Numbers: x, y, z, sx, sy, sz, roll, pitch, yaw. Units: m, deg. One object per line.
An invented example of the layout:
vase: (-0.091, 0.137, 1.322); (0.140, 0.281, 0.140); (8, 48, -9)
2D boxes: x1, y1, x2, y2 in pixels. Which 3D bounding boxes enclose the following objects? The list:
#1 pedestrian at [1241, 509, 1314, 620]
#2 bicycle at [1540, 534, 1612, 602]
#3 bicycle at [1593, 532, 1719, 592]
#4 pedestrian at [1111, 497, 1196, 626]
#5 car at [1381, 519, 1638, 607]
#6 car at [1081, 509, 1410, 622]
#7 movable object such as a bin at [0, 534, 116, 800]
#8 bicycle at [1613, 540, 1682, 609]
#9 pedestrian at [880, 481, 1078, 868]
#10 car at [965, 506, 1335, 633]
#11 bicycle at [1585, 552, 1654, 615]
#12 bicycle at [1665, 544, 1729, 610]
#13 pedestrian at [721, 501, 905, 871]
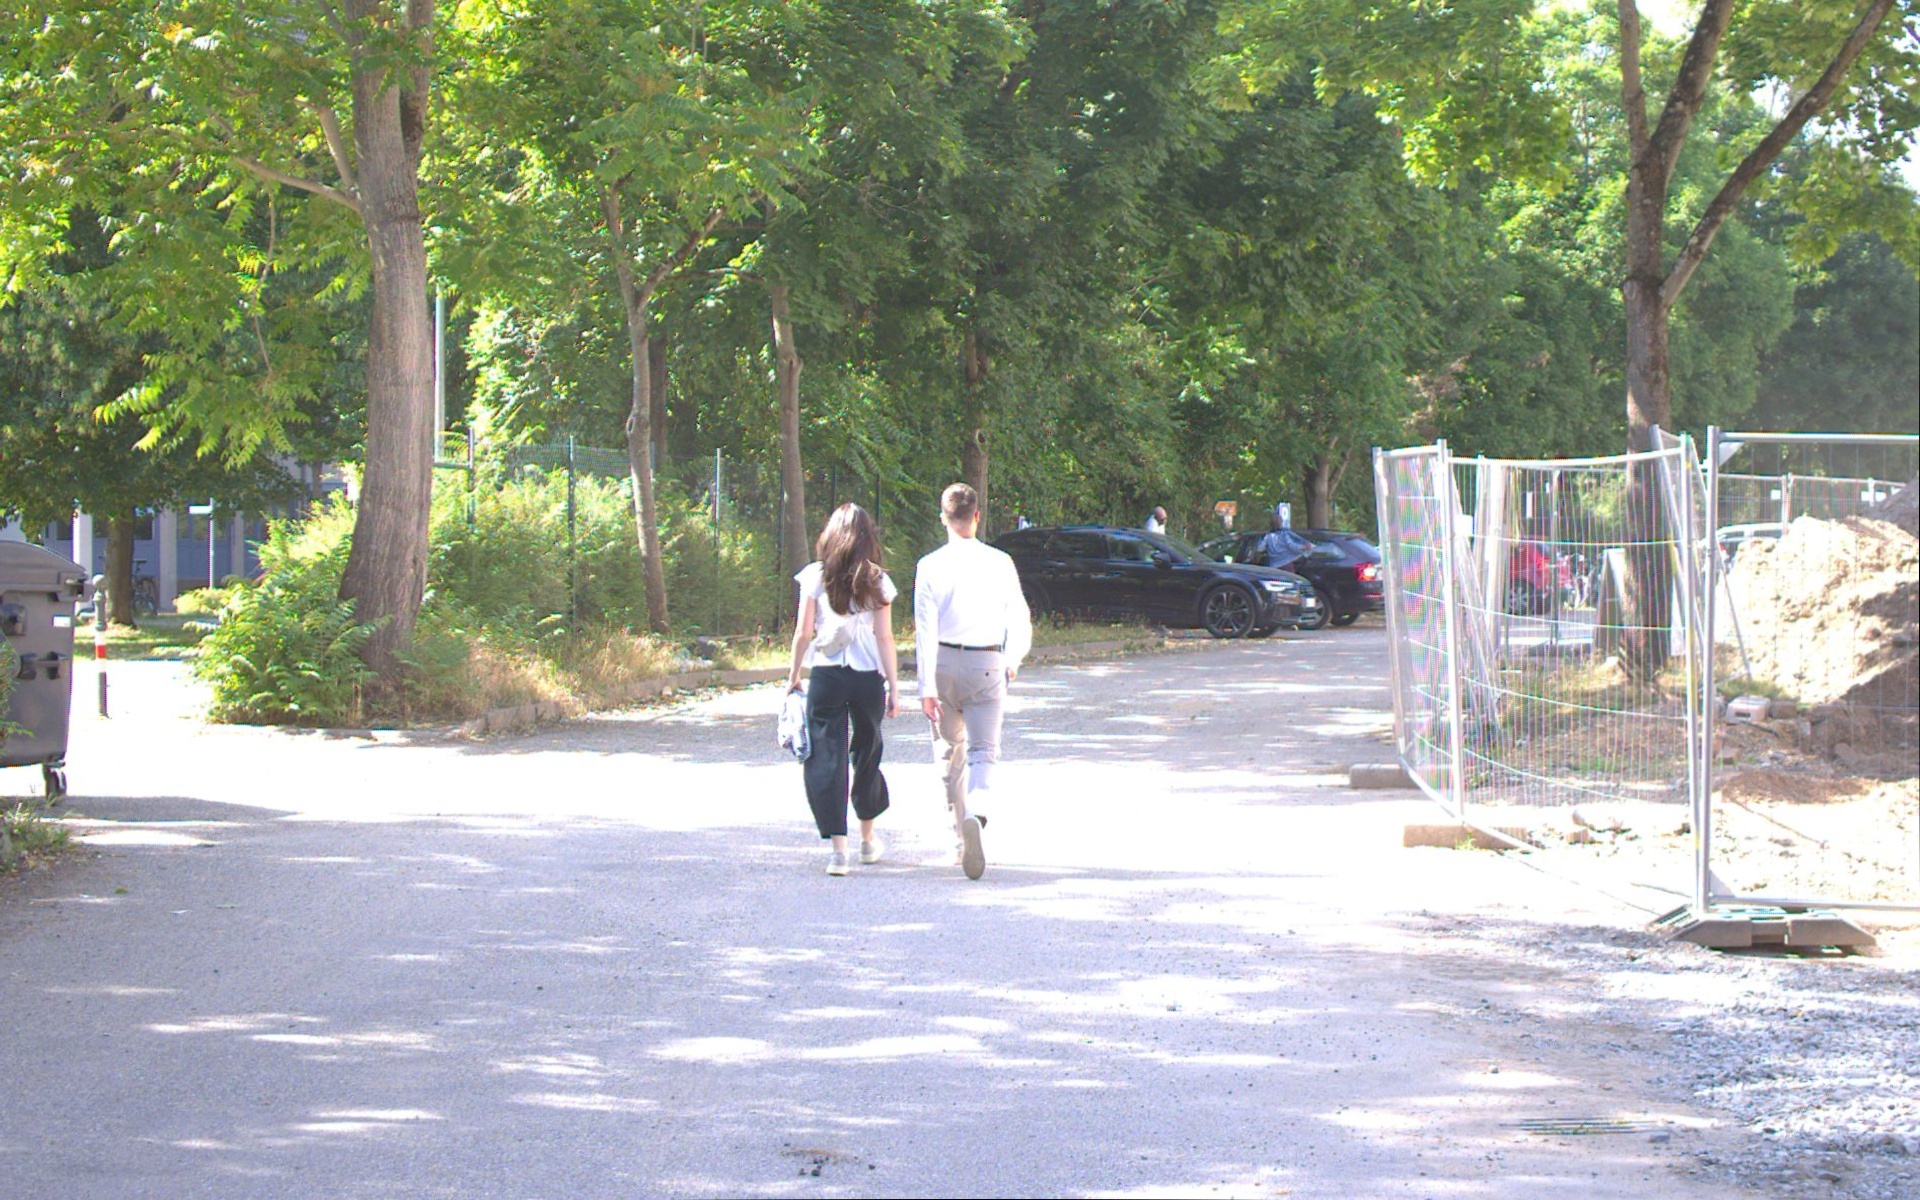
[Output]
pedestrian: (4.669, -0.530, 50.499); (0.925, 1.589, 0.785); (1, 2, 16)
bicycle: (11.983, -0.639, 66.848); (0.715, 1.280, 2.787); (1, 1, 24)
bicycle: (15.509, -0.855, 76.612); (2.677, 1.280, 0.818); (1, 1, 18)
pedestrian: (2.710, -0.539, 48.009); (1.014, 1.775, 0.819); (1, 1, 16)
car: (10.022, -0.689, 62.654); (4.291, 1.519, 1.890); (1, 2, 23)
car: (4.348, -0.555, 52.109); (4.659, 1.579, 1.999); (1, 2, 16)
movable object such as a bin: (-5.502, 0.343, 18.614); (1.403, 1.392, 1.245); (1, 2, 42)
bicycle: (13.180, -0.499, 65.822); (0.715, 1.280, 2.680); (1, 1, 24)
pedestrian: (0.078, 0.322, 15.807); (0.755, 1.722, 0.854); (0, 2, -10)
car: (2.586, -0.436, 46.466); (4.659, 1.579, 1.999); (1, 2, 16)
bicycle: (13.771, -0.359, 71.706); (0.817, 1.280, 2.680); (1, 1, 24)
bicycle: (14.938, -0.478, 69.655); (0.715, 1.280, 2.634); (1, 1, 24)
pedestrian: (-0.682, 0.373, 15.705); (0.735, 1.634, 0.781); (0, 2, -10)
